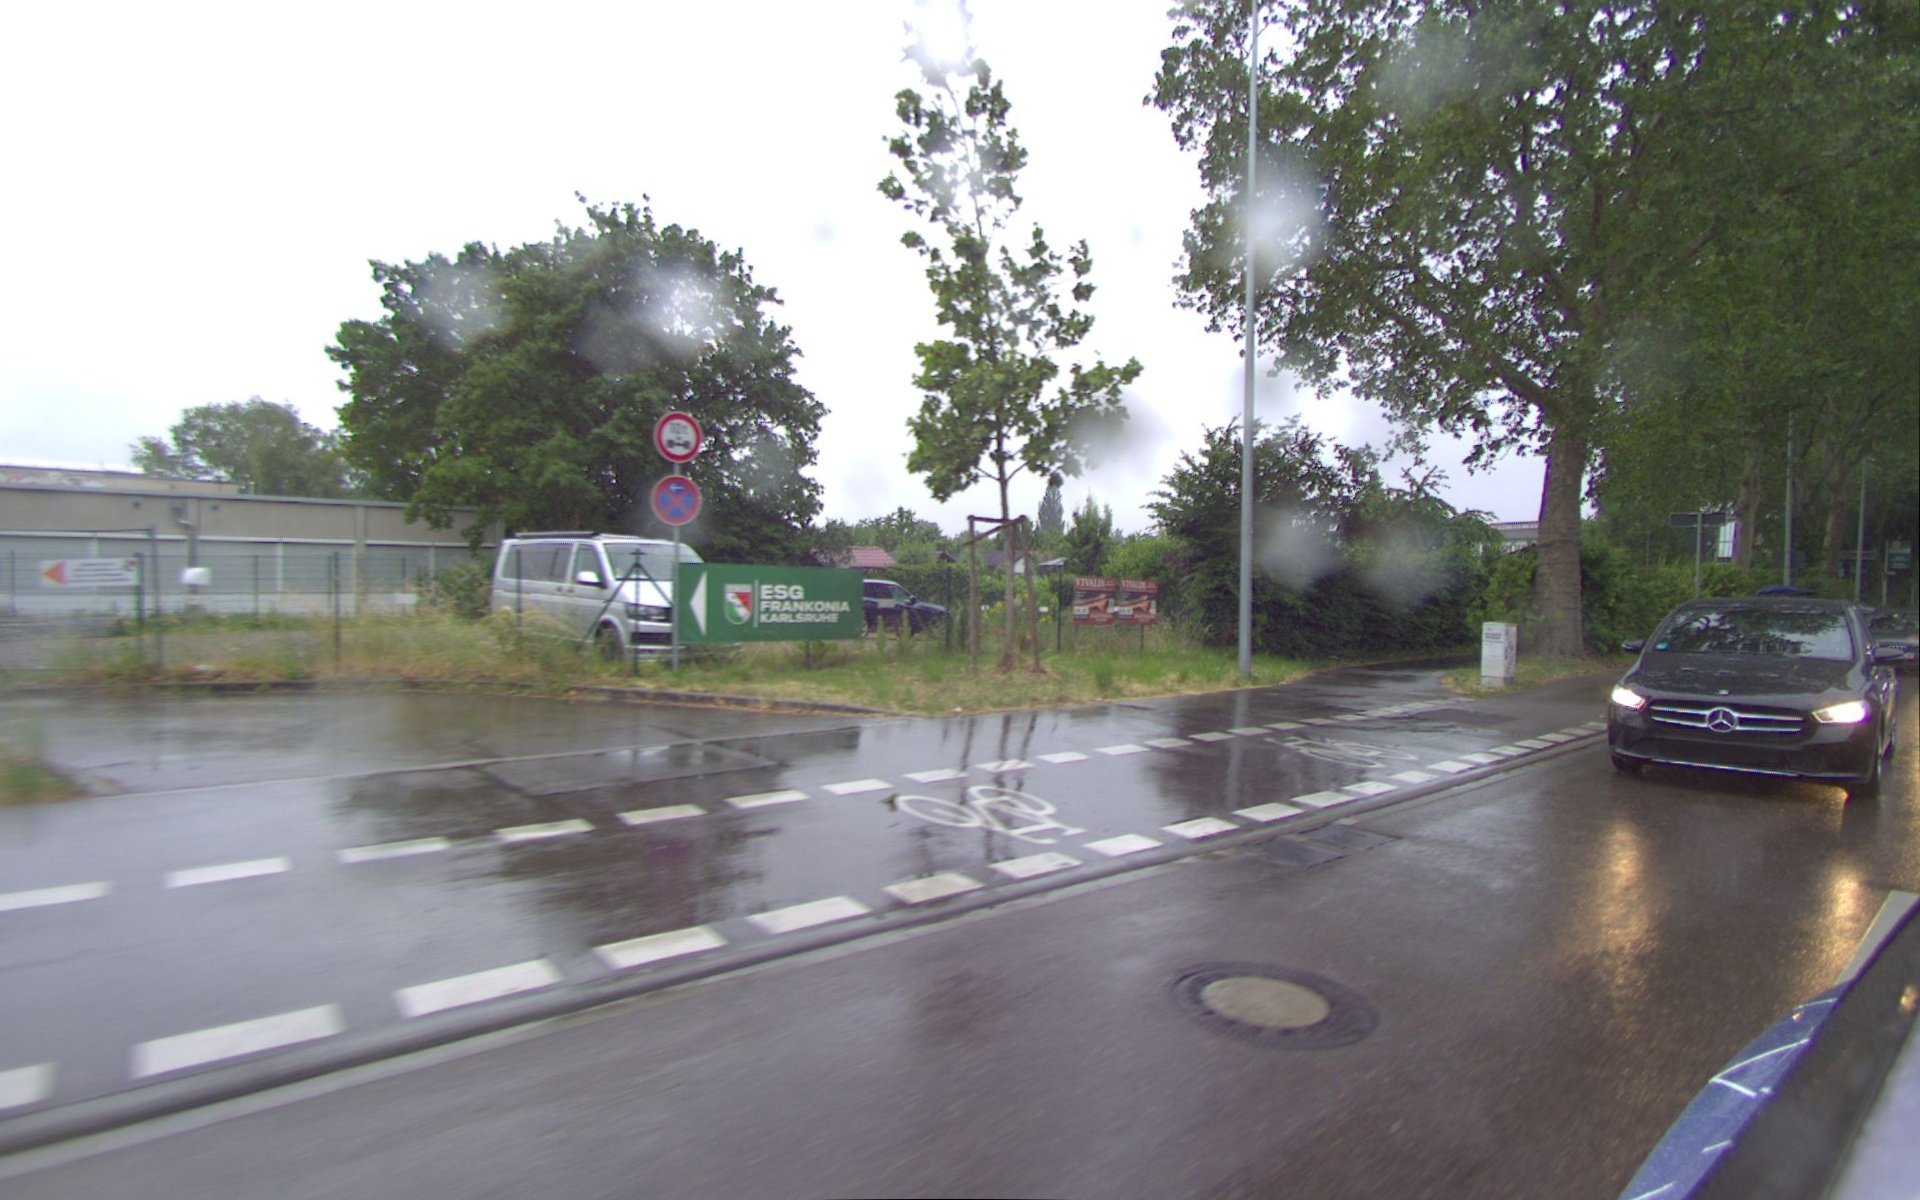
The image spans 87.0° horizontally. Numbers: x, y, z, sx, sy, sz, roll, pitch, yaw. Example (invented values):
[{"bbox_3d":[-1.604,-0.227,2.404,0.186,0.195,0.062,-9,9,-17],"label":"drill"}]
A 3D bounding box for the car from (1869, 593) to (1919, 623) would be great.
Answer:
[{"bbox_3d":[50.979,0.445,54.104,1.630,1.516,3.385,2,0,-42],"label":"car"}]

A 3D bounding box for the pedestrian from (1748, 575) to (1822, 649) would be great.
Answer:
[{"bbox_3d":[21.574,0.288,26.468,1.127,1.807,1.243,0,4,-41],"label":"pedestrian"}]

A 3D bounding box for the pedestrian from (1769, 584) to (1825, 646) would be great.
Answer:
[{"bbox_3d":[23.086,0.394,27.920,1.271,1.608,0.948,0,2,-41],"label":"pedestrian"}]

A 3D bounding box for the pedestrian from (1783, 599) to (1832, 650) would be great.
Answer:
[{"bbox_3d":[24.865,0.699,29.682,0.999,1.407,0.894,0,3,-41],"label":"pedestrian"}]

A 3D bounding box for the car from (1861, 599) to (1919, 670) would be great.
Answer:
[{"bbox_3d":[21.137,0.715,22.212,3.717,1.402,1.640,-1,1,-42],"label":"car"}]

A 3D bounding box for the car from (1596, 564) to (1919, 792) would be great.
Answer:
[{"bbox_3d":[7.291,0.511,9.069,1.817,1.549,4.351,0,0,45],"label":"car"}]

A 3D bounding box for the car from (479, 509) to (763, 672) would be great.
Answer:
[{"bbox_3d":[-5.272,-0.140,15.245,1.968,2.039,5.251,0,0,-45],"label":"car"}]

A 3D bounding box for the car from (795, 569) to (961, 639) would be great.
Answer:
[{"bbox_3d":[-2.159,0.150,27.043,3.926,1.639,1.998,4,-2,-39],"label":"car"}]
